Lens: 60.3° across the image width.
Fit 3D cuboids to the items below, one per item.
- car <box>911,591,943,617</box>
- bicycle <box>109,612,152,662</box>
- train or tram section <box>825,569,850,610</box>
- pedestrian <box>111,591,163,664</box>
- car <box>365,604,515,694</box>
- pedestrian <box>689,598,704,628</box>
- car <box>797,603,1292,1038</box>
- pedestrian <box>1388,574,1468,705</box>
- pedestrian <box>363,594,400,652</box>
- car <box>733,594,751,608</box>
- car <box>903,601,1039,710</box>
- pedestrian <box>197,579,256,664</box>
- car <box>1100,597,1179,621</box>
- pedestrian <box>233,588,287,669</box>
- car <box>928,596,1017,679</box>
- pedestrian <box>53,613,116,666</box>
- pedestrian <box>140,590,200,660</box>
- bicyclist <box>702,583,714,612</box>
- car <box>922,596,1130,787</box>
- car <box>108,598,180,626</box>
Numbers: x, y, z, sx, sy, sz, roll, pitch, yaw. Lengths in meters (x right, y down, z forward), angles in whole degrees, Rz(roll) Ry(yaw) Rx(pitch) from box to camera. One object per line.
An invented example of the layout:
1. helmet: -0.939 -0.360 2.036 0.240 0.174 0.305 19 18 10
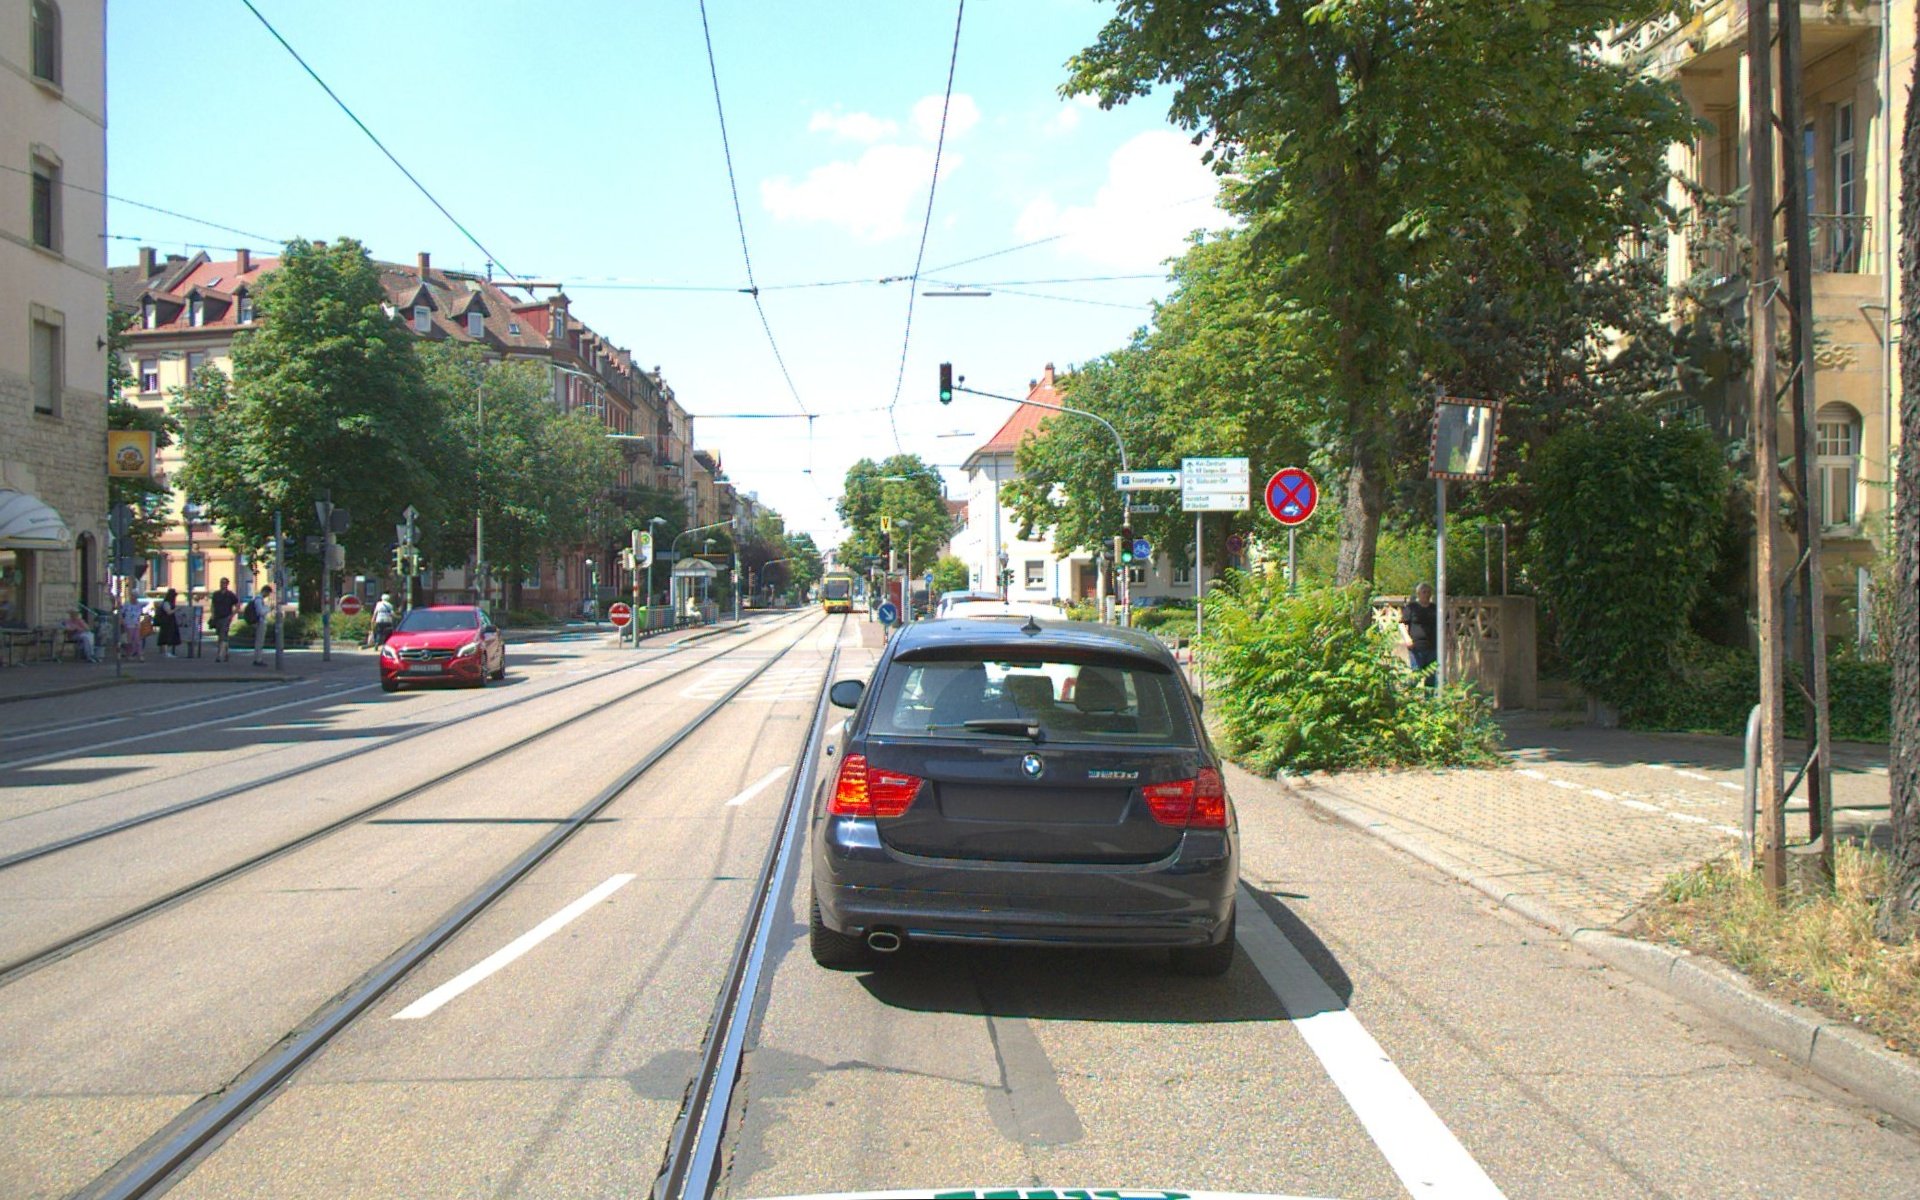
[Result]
1. car: -2.440 0.269 122.131 1.956 1.881 3.994 0 0 -7
2. bicycle: -19.543 0.872 38.948 0.539 1.148 1.658 0 -2 -40
3. train or tram section: -10.826 -0.908 146.235 2.147 3.543 8.838 0 0 -4
4. pedestrian: -18.446 0.605 37.075 0.904 1.622 0.803 0 0 45
5. car: -9.409 0.830 30.247 1.788 1.438 4.422 -2 0 -7
6. pedestrian: -11.370 0.567 71.340 0.602 1.264 0.626 0 0 -10
7. car: 0.350 0.773 8.060 1.687 1.433 4.565 2 0 1
8. pedestrian: 6.126 0.513 21.682 0.839 1.674 0.837 -1 0 4
9. pedestrian: -17.576 0.697 50.256 0.898 1.753 0.839 0 0 -6
10. car: -25.763 0.091 195.144 1.756 1.614 3.988 1 0 -12
11. car: 0.070 0.701 22.679 1.657 1.346 3.819 0 0 -3
12. pedestrian: -16.874 0.482 38.075 0.883 1.924 1.163 0 0 -5
13. car: 9.637 0.491 88.768 3.914 1.265 1.620 0 0 32
14. pedestrian: -15.464 0.621 36.551 0.842 1.763 0.775 1 0 0
15. car: 0.234 0.693 32.666 1.656 1.540 3.821 1 0 0
16. pedestrian: -18.728 0.845 35.400 0.897 1.096 0.882 0 0 -3
17. pedestrian: -19.054 0.591 39.890 1.002 1.664 0.863 0 0 2
18. bicyclist: -16.222 -0.172 106.656 0.708 1.903 0.824 0 0 -6
19. car: 0.493 0.726 15.154 1.651 1.510 3.683 0 0 -2
20. car: -44.228 0.643 89.634 3.388 1.497 1.685 0 0 21
